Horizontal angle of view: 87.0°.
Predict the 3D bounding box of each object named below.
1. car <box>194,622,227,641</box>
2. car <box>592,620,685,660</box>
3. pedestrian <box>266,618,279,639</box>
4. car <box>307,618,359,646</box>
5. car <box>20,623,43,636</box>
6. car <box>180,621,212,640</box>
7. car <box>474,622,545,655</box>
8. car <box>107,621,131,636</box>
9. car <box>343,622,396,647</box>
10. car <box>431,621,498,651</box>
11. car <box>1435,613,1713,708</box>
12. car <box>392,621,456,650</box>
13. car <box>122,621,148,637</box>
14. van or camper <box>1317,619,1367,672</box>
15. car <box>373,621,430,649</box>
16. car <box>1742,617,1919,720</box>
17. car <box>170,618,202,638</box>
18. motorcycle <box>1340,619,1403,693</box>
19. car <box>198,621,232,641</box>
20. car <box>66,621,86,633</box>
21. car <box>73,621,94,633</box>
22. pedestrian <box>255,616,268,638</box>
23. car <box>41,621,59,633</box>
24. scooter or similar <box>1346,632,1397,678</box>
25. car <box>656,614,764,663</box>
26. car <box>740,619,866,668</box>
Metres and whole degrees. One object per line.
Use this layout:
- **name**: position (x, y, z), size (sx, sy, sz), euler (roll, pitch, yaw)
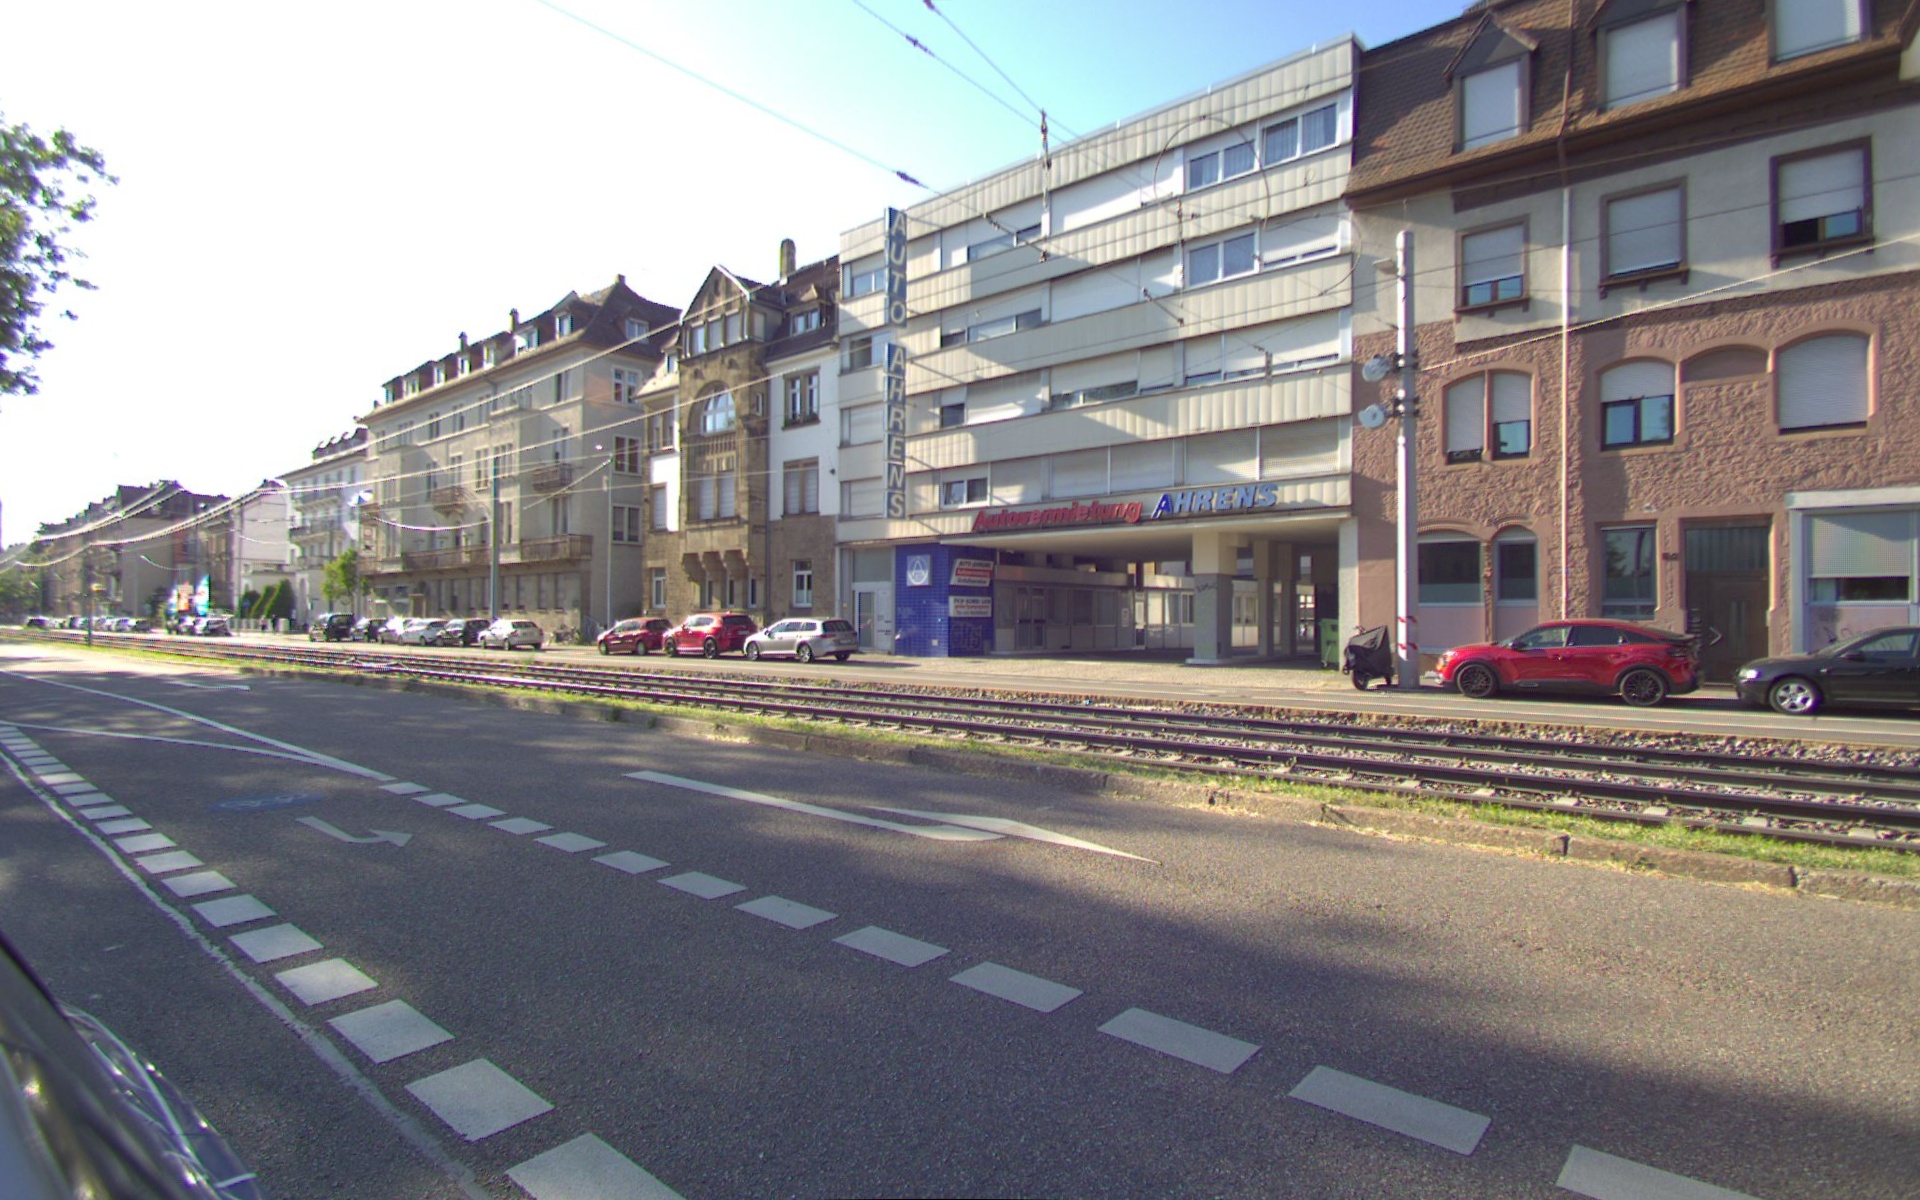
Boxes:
- **car**: position (-64.981, 2.688, 87.691), size (3.387, 1.583, 1.662), euler (-1, 0, 42)
- **car**: position (-13.116, 1.592, 41.242), size (3.722, 1.507, 1.736), euler (-1, 0, 36)
- **pedestrian**: position (-58.209, 2.428, 85.642), size (0.677, 1.803, 0.716), euler (-1, -2, 41)
- **car**: position (-41.201, 2.096, 66.471), size (3.914, 1.750, 1.851), euler (-1, 0, 42)
- **car**: position (-119.247, 3.775, 129.908), size (3.999, 1.697, 1.798), euler (-1, -2, 42)
- **car**: position (-68.470, 2.718, 90.634), size (3.387, 1.583, 1.662), euler (-1, 0, 42)
- **car**: position (-21.920, 1.843, 49.206), size (3.822, 1.490, 1.778), euler (-1, 0, 42)
- **car**: position (-94.934, 3.166, 114.267), size (3.449, 1.602, 1.603), euler (-1, 0, 42)
- **car**: position (-36.787, 2.112, 63.037), size (3.822, 1.490, 1.778), euler (-1, 0, 42)
- **car**: position (-25.867, 1.853, 52.789), size (3.820, 1.441, 1.779), euler (-1, 0, 40)
- **car**: position (11.453, 1.061, 19.020), size (4.208, 1.510, 1.837), euler (-1, 1, 41)
- **car**: position (-29.277, 1.929, 55.248), size (3.531, 1.457, 1.624), euler (-1, 0, 35)
- **car**: position (-88.161, 3.075, 108.159), size (3.449, 1.602, 1.603), euler (-1, 0, 42)
- **van or camper**: position (10.124, 1.188, 26.803), size (0.803, 1.368, 1.409), euler (-1, -2, 41)
- **car**: position (-32.552, 2.012, 58.965), size (3.822, 1.490, 1.778), euler (-1, 0, 42)
- **car**: position (14.699, 1.030, 15.734), size (3.926, 1.448, 1.678), euler (-1, 1, 41)
- **car**: position (-72.574, 2.607, 94.888), size (3.879, 1.800, 1.705), euler (-1, 0, 42)
- **motorcycle**: position (8.778, 1.168, 21.565), size (0.628, 1.433, 1.835), euler (-2, 0, 42)
- **car**: position (-61.420, 2.541, 83.425), size (3.407, 1.644, 1.655), euler (-1, 0, 42)
- **car**: position (-120.552, 3.661, 138.020), size (3.449, 1.602, 1.603), euler (-1, 0, 42)
- **car**: position (-116.788, 3.601, 134.838), size (3.449, 1.602, 1.603), euler (-1, 0, 42)
- **pedestrian**: position (-58.734, 2.288, 85.124), size (0.677, 1.803, 0.716), euler (-1, -2, 41)
- **car**: position (-134.495, 3.996, 149.584), size (3.449, 1.602, 1.603), euler (-1, 0, 42)
- **scooter or similar**: position (9.860, 1.312, 24.267), size (1.121, 1.077, 0.202), euler (-1, -1, 42)
- **car**: position (-9.369, 1.403, 37.760), size (4.262, 1.700, 1.836), euler (-1, 0, 43)
- **car**: position (-5.355, 1.421, 34.217), size (4.379, 1.510, 1.837), euler (-1, 0, 41)
